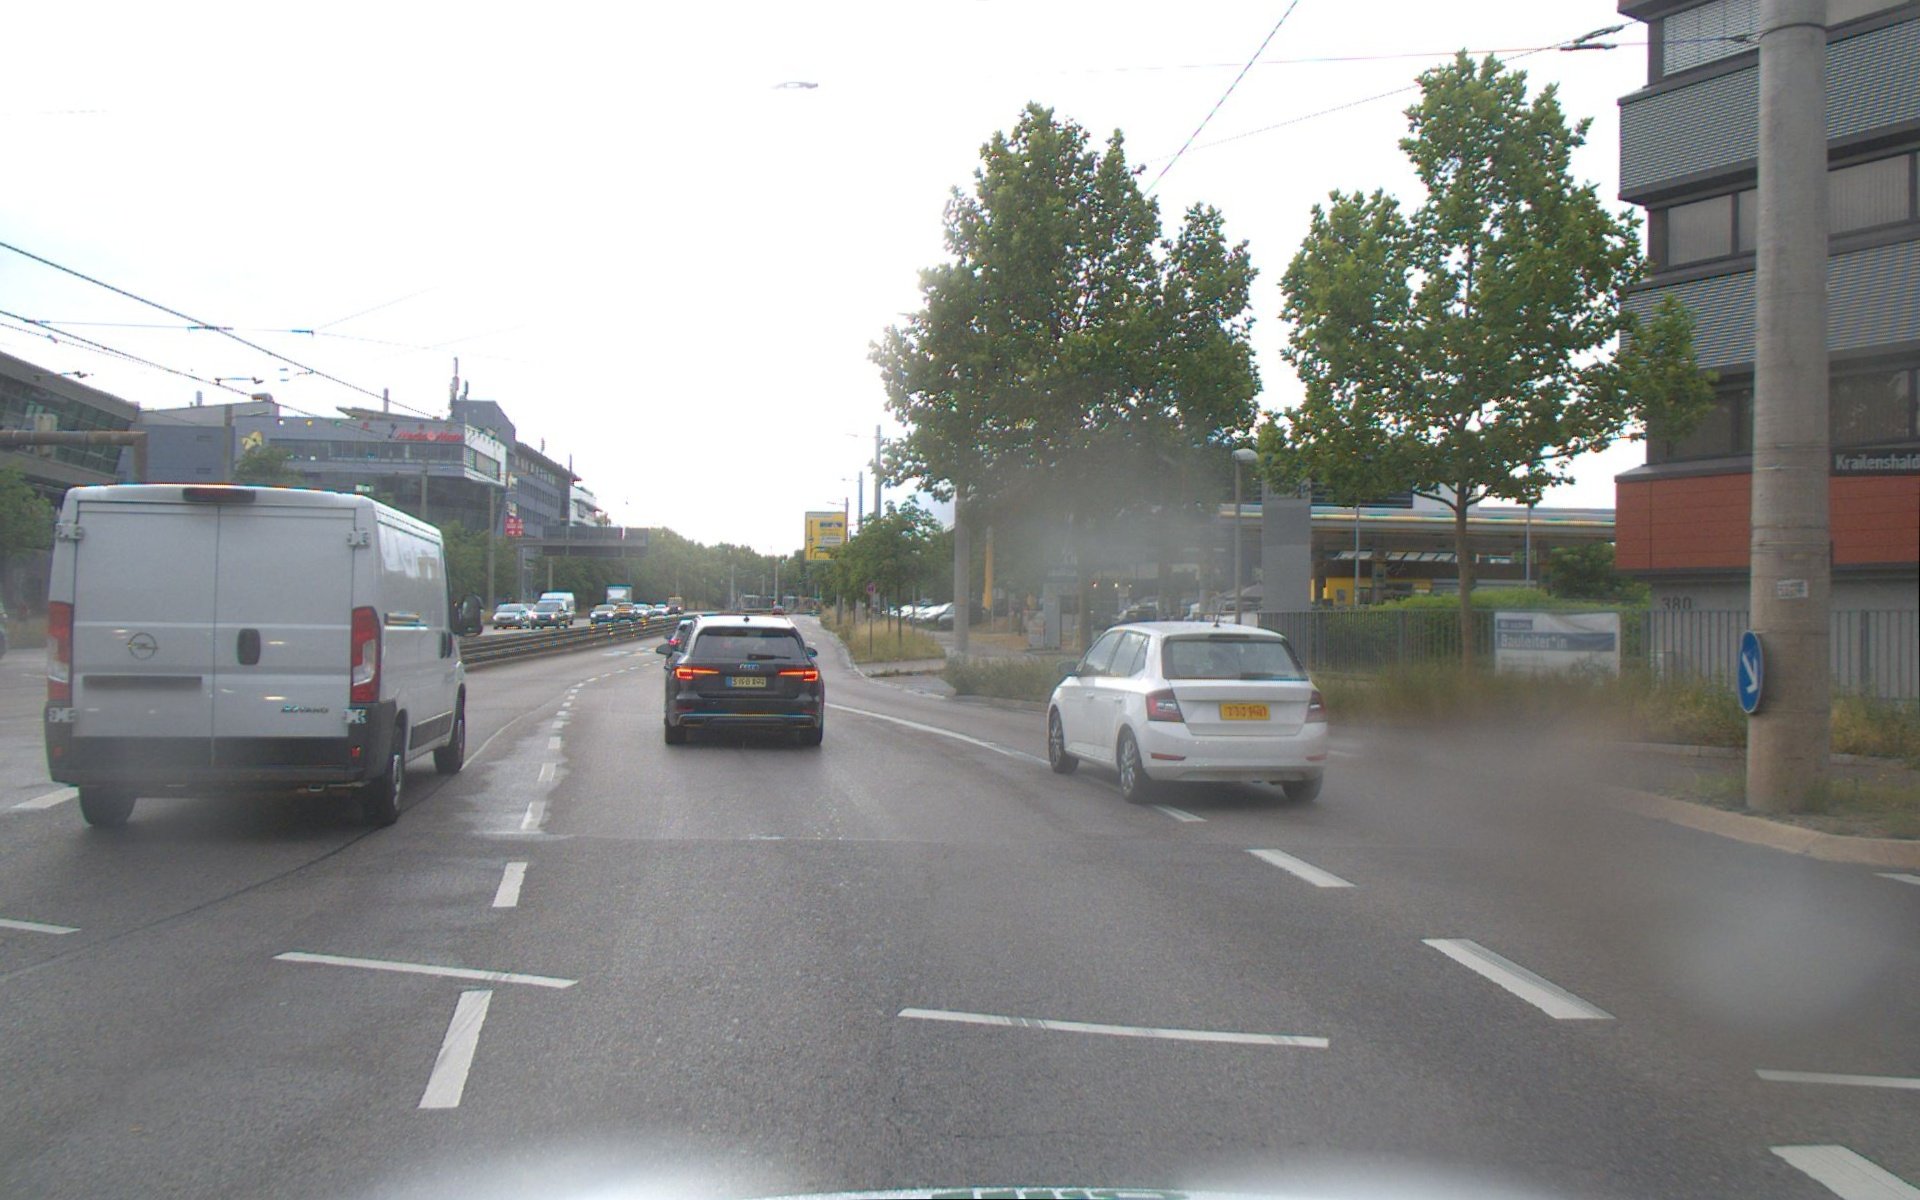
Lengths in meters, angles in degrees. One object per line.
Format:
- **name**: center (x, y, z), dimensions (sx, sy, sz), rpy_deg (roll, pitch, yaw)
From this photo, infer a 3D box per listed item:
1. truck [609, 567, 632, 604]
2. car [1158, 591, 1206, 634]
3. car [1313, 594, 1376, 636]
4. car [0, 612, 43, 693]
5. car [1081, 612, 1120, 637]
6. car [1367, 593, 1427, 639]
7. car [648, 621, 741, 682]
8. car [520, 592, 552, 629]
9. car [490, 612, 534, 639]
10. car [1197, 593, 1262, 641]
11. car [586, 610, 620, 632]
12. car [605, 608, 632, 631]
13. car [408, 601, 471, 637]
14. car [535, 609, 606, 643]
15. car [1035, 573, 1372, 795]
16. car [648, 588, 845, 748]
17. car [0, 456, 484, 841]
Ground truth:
- **truck**: center (-35.430, -1.490, 172.538), dimensions (2.120, 3.709, 6.854), rpy_deg (3, -1, -11)
- **car**: center (11.209, 0.664, 83.822), dimensions (1.646, 2.049, 3.538), rpy_deg (3, -1, -4)
- **car**: center (19.841, 0.788, 85.573), dimensions (1.836, 2.049, 3.766), rpy_deg (3, -1, -9)
- **car**: center (-23.946, 1.259, 38.612), dimensions (1.951, 1.869, 4.912), rpy_deg (3, 1, 5)
- **car**: center (9.091, 1.575, 107.323), dimensions (1.757, 1.619, 3.995), rpy_deg (0, -1, -6)
- **car**: center (20.259, 0.748, 76.817), dimensions (1.643, 2.049, 3.134), rpy_deg (3, -1, -5)
- **car**: center (-6.852, 1.324, 43.053), dimensions (1.856, 1.491, 3.907), rpy_deg (1, -1, -2)
- **car**: center (-33.888, 0.827, 132.256), dimensions (2.120, 2.770, 5.053), rpy_deg (3, -1, -11)
- **car**: center (-29.392, 1.677, 108.671), dimensions (2.118, 1.531, 4.294), rpy_deg (6, -2, -7)
- **car**: center (12.133, 0.765, 74.666), dimensions (1.955, 2.068, 3.995), rpy_deg (0, -1, -5)
- **car**: center (-28.153, 1.656, 130.419), dimensions (1.764, 1.649, 4.953), rpy_deg (0, -1, -2)
- **car**: center (-30.580, 1.716, 148.314), dimensions (2.119, 1.918, 4.292), rpy_deg (3, -1, -9)
- **car**: center (-25.147, 0.926, 80.054), dimensions (1.884, 1.682, 4.193), rpy_deg (2, -1, -3)
- **car**: center (-24.671, 1.659, 104.916), dimensions (2.115, 1.918, 4.299), rpy_deg (2, -1, 23)
- **car**: center (1.999, 0.695, 14.810), dimensions (1.796, 1.685, 3.990), rpy_deg (2, -1, -10)
- **car**: center (-2.614, 0.710, 19.455), dimensions (1.959, 1.666, 3.988), rpy_deg (1, 0, -12)
- **car**: center (-5.158, 0.319, 12.660), dimensions (2.401, 2.334, 4.892), rpy_deg (-1, -1, -10)
